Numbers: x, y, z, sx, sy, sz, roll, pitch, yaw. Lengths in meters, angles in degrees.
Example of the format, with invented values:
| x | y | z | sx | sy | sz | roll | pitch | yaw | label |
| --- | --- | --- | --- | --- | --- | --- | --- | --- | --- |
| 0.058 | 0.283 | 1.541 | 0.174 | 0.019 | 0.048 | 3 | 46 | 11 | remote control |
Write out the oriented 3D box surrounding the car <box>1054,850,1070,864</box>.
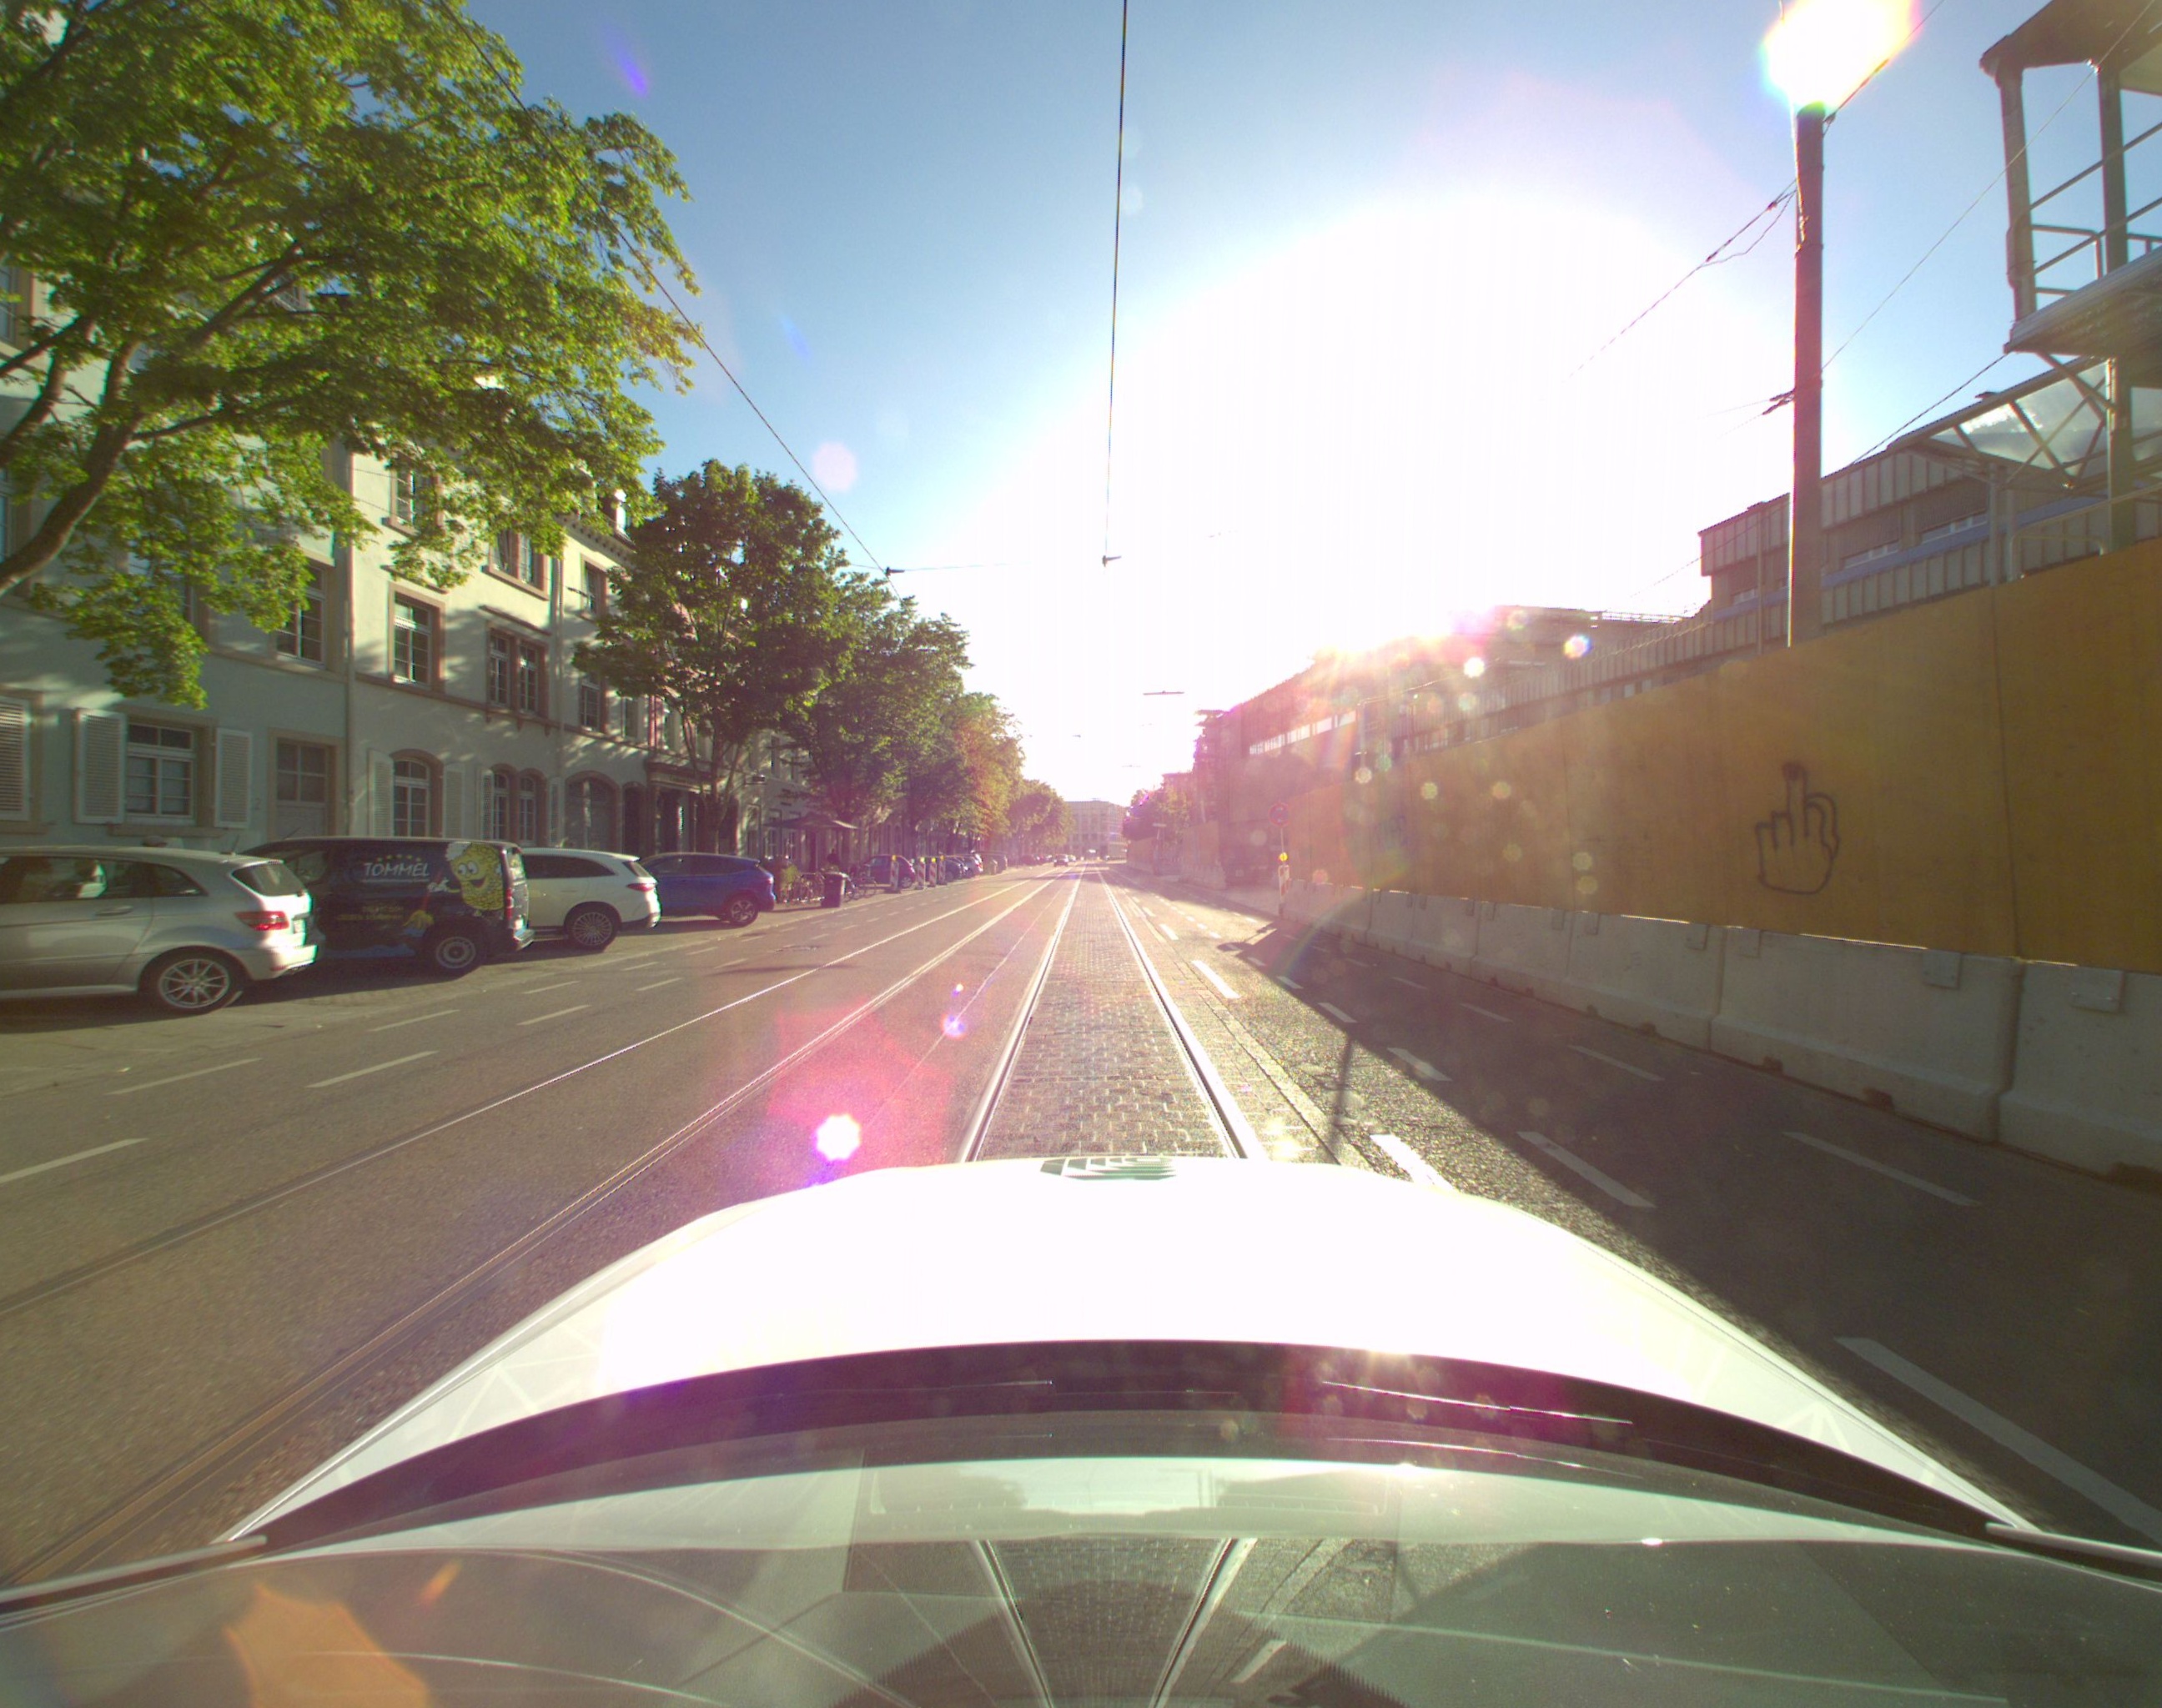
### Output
| x | y | z | sx | sy | sz | roll | pitch | yaw | label |
| --- | --- | --- | --- | --- | --- | --- | --- | --- | --- |
| -2.462 | 0.367 | 107.199 | 1.922 | 1.629 | 4.248 | -3 | 1 | 0 | car |

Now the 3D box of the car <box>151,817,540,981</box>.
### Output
| x | y | z | sx | sy | sz | roll | pitch | yaw | label |
| --- | --- | --- | --- | --- | --- | --- | --- | --- | --- |
| -9.351 | 0.589 | 10.798 | 3.456 | 1.843 | 1.716 | 3 | -2 | -31 | car |

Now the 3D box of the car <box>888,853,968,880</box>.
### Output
| x | y | z | sx | sy | sz | roll | pitch | yaw | label |
| --- | --- | --- | --- | --- | --- | --- | --- | --- | --- |
| -8.903 | 0.739 | 47.418 | 4.211 | 1.491 | 1.927 | 1 | 0 | -27 | car |

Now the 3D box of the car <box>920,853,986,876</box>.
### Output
| x | y | z | sx | sy | sz | roll | pitch | yaw | label |
| --- | --- | --- | --- | --- | --- | --- | --- | --- | --- |
| -8.767 | 0.723 | 55.767 | 4.125 | 1.512 | 1.825 | 1 | 0 | -26 | car |

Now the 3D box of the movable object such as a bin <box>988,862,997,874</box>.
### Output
| x | y | z | sx | sy | sz | roll | pitch | yaw | label |
| --- | --- | --- | --- | --- | --- | --- | --- | --- | --- |
| -7.077 | 1.137 | 65.234 | 0.576 | 0.913 | 0.572 | 2 | 1 | -16 | movable object such as a bin |

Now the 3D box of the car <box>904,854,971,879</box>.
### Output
| x | y | z | sx | sy | sz | roll | pitch | yaw | label |
| --- | --- | --- | --- | --- | --- | --- | --- | --- | --- |
| -8.786 | 0.767 | 50.015 | 3.693 | 1.470 | 1.737 | 2 | -1 | -29 | car |

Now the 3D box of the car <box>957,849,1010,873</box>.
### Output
| x | y | z | sx | sy | sz | roll | pitch | yaw | label |
| --- | --- | --- | --- | --- | --- | --- | --- | --- | --- |
| -8.732 | 0.626 | 72.981 | 4.370 | 1.986 | 1.935 | 2 | -1 | -21 | car |

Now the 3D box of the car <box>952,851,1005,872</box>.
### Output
| x | y | z | sx | sy | sz | roll | pitch | yaw | label |
| --- | --- | --- | --- | --- | --- | --- | --- | --- | --- |
| -8.825 | 0.601 | 70.244 | 4.250 | 1.685 | 1.798 | -1 | 0 | -21 | car |

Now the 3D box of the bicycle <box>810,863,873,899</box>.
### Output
| x | y | z | sx | sy | sz | roll | pitch | yaw | label |
| --- | --- | --- | --- | --- | --- | --- | --- | --- | --- |
| -8.423 | 0.944 | 28.696 | 1.995 | 1.087 | 0.568 | 4 | 0 | 2 | bicycle |

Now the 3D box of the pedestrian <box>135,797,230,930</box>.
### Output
| x | y | z | sx | sy | sz | roll | pitch | yaw | label |
| --- | --- | --- | --- | --- | --- | --- | --- | --- | --- |
| -12.825 | 0.137 | 11.636 | 0.641 | 1.838 | 0.625 | -1 | 0 | 2 | pedestrian |

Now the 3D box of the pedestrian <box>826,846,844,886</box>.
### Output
| x | y | z | sx | sy | sz | roll | pitch | yaw | label |
| --- | --- | --- | --- | --- | --- | --- | --- | --- | --- |
| -12.655 | 0.626 | 41.930 | 0.728 | 2.013 | 0.557 | -1 | 0 | 1 | pedestrian |

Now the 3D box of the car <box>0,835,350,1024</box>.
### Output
| x | y | z | sx | sy | sz | roll | pitch | yaw | label |
| --- | --- | --- | --- | --- | --- | --- | --- | --- | --- |
| -10.181 | 0.678 | 8.078 | 4.011 | 1.656 | 1.793 | 2 | 0 | -30 | car |

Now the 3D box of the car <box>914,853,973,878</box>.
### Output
| x | y | z | sx | sy | sz | roll | pitch | yaw | label |
| --- | --- | --- | --- | --- | --- | --- | --- | --- | --- |
| -8.921 | 0.751 | 52.866 | 3.381 | 1.493 | 1.599 | 1 | 0 | -28 | car |

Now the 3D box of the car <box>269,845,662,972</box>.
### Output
| x | y | z | sx | sy | sz | roll | pitch | yaw | label |
| --- | --- | --- | --- | --- | --- | --- | --- | --- | --- |
| -9.925 | 0.765 | 13.760 | 4.956 | 1.794 | 2.187 | 0 | 0 | -31 | car |

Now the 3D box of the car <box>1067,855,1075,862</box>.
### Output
| x | y | z | sx | sy | sz | roll | pitch | yaw | label |
| --- | --- | --- | --- | --- | --- | --- | --- | --- | --- |
| -2.099 | 1.004 | 168.362 | 1.704 | 1.436 | 4.169 | -1 | 0 | -1 | car |

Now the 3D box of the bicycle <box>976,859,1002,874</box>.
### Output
| x | y | z | sx | sy | sz | roll | pitch | yaw | label |
| --- | --- | --- | --- | --- | --- | --- | --- | --- | --- |
| -7.427 | 0.987 | 65.892 | 1.970 | 1.144 | 0.490 | 1 | -1 | -18 | bicycle |

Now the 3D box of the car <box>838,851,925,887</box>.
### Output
| x | y | z | sx | sy | sz | roll | pitch | yaw | label |
| --- | --- | --- | --- | --- | --- | --- | --- | --- | --- |
| -9.227 | 0.697 | 37.747 | 3.631 | 1.553 | 1.655 | 1 | 1 | -26 | car |

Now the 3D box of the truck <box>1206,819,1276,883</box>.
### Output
| x | y | z | sx | sy | sz | roll | pitch | yaw | label |
| --- | --- | --- | --- | --- | --- | --- | --- | --- | --- |
| 8.006 | -0.143 | 41.269 | 2.510 | 2.909 | 5.509 | -3 | 0 | 2 | truck |

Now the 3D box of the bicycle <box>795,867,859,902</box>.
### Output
| x | y | z | sx | sy | sz | roll | pitch | yaw | label |
| --- | --- | --- | --- | --- | --- | --- | --- | --- | --- |
| -8.527 | 1.012 | 27.369 | 1.960 | 1.079 | 0.569 | 2 | 0 | 2 | bicycle |

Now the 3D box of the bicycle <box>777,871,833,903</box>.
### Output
| x | y | z | sx | sy | sz | roll | pitch | yaw | label |
| --- | --- | --- | --- | --- | --- | --- | --- | --- | --- |
| -8.698 | 1.044 | 25.688 | 1.599 | 0.988 | 0.387 | 1 | 0 | -11 | bicycle |

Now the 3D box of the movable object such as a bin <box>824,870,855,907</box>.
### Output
| x | y | z | sx | sy | sz | roll | pitch | yaw | label |
| --- | --- | --- | --- | --- | --- | --- | --- | --- | --- |
| -7.438 | 1.052 | 25.078 | 0.681 | 1.078 | 0.710 | 3 | 0 | 2 | movable object such as a bin |

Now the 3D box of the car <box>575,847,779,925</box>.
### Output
| x | y | z | sx | sy | sz | roll | pitch | yaw | label |
| --- | --- | --- | --- | --- | --- | --- | --- | --- | --- |
| -9.127 | 0.708 | 18.539 | 3.919 | 1.609 | 1.556 | 1 | -2 | -36 | car |

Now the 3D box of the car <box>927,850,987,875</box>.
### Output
| x | y | z | sx | sy | sz | roll | pitch | yaw | label |
| --- | --- | --- | --- | --- | --- | --- | --- | --- | --- |
| -8.970 | 0.594 | 59.230 | 4.093 | 1.678 | 1.840 | 2 | 0 | -2 | car |

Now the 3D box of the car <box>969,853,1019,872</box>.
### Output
| x | y | z | sx | sy | sz | roll | pitch | yaw | label |
| --- | --- | --- | --- | --- | --- | --- | --- | --- | --- |
| -7.264 | 0.722 | 67.899 | 3.866 | 1.476 | 1.833 | -1 | 0 | -18 | car |

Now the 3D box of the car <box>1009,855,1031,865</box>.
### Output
| x | y | z | sx | sy | sz | roll | pitch | yaw | label |
| --- | --- | --- | --- | --- | --- | --- | --- | --- | --- |
| -8.618 | 0.812 | 115.229 | 2.950 | 1.332 | 1.205 | -1 | 0 | -27 | car |
